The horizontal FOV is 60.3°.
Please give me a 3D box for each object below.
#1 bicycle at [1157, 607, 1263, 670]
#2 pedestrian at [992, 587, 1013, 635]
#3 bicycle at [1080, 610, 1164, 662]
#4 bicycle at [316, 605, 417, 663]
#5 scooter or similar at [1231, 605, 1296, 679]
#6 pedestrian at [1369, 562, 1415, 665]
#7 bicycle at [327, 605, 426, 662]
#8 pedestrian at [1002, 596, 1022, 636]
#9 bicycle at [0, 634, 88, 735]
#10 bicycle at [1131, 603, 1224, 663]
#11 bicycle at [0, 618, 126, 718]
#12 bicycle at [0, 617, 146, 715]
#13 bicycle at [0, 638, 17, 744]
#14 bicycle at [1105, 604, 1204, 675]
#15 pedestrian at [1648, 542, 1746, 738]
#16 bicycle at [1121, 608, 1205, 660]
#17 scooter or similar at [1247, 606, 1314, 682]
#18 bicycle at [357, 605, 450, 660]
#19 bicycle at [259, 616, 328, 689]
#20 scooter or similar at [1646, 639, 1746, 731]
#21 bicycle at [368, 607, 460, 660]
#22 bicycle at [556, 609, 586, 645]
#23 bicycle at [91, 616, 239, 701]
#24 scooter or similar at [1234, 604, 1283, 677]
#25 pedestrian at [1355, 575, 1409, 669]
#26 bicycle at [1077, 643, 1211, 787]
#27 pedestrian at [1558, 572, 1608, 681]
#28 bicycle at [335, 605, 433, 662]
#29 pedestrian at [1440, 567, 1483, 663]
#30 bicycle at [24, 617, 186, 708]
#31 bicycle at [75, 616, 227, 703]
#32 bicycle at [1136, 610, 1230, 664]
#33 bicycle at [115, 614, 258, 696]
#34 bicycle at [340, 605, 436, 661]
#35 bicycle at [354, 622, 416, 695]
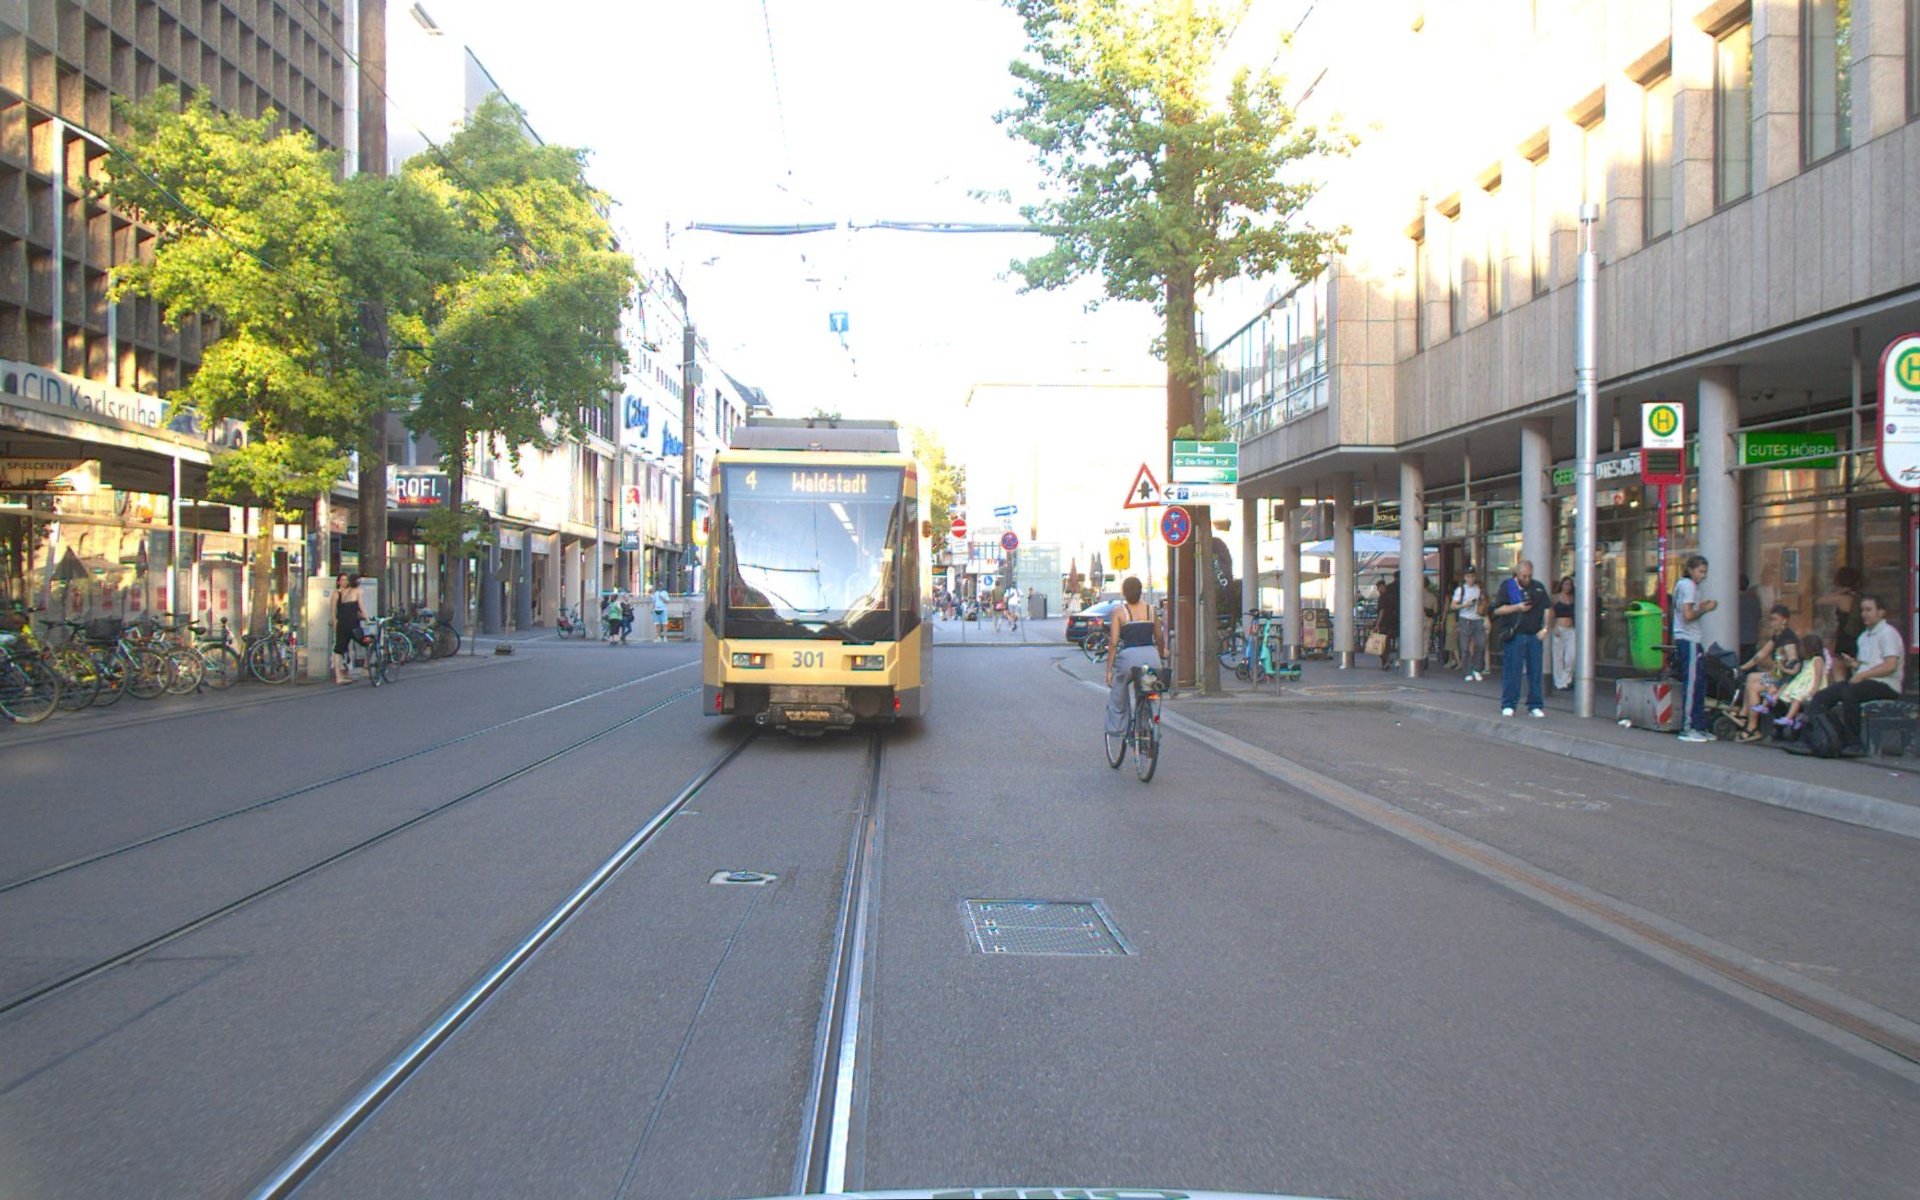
[{"bbox_3d":[5.000,0.767,33.154,1.958,1.175,0.724,-2,0,-7],"label":"bicycle"},{"bbox_3d":[1.571,0.402,61.399,0.703,1.756,0.709,0,-1,-3],"label":"pedestrian"},{"bbox_3d":[3.724,0.822,38.146,1.816,1.128,0.666,-1,0,-5],"label":"bicycle"},{"bbox_3d":[-11.450,0.656,31.931,1.736,1.063,0.489,2,0,-2],"label":"bicycle"},{"bbox_3d":[5.414,0.745,29.531,1.176,1.273,0.389,-1,1,-32],"label":"scooter or similar"},{"bbox_3d":[8.679,0.269,33.268,0.672,2.049,0.782,-1,0,-2],"label":"pedestrian"},{"bbox_3d":[-11.468,0.659,32.502,1.736,1.063,0.489,2,0,-2],"label":"bicycle"},{"bbox_3d":[2.415,0.744,76.622,0.722,1.855,0.816,0,0,-17],"label":"pedestrian"},{"bbox_3d":[-10.184,0.872,17.359,1.738,1.007,0.489,2,1,-8],"label":"bicycle"},{"bbox_3d":[4.835,0.721,36.832,1.878,1.244,0.762,-2,0,-7],"label":"bicycle"},{"bbox_3d":[-10.728,0.783,19.228,1.738,1.090,0.488,2,0,-8],"label":"bicycle"},{"bbox_3d":[-10.768,0.786,19.804,1.738,1.090,0.488,2,0,-8],"label":"bicycle"},{"bbox_3d":[-10.142,0.863,15.948,1.738,1.007,0.489,2,1,-8],"label":"bicycle"},{"bbox_3d":[4.002,0.806,34.044,1.878,1.356,0.724,-2,0,-7],"label":"bicycle"},{"bbox_3d":[7.231,0.383,16.254,0.626,1.872,0.667,-1,-1,-1],"label":"pedestrian"},{"bbox_3d":[4.704,0.786,38.405,1.816,1.128,0.666,-1,0,-5],"label":"bicycle"},{"bbox_3d":[5.552,0.754,28.669,1.102,1.273,0.491,-1,1,-33],"label":"scooter or similar"},{"bbox_3d":[-11.553,0.670,34.382,1.736,1.063,0.489,2,0,-2],"label":"bicycle"},{"bbox_3d":[-10.362,0.798,25.774,0.478,1.063,1.776,1,0,-5],"label":"bicycle"},{"bbox_3d":[7.672,0.878,17.274,0.815,0.899,0.687,1,-1,12],"label":"scooter or similar"},{"bbox_3d":[-11.538,0.711,34.963,1.736,1.063,0.489,2,0,-2],"label":"bicycle"},{"bbox_3d":[-13.188,0.911,56.141,0.488,1.127,1.801,0,1,3],"label":"bicycle"},{"bbox_3d":[-10.943,0.802,22.804,1.738,1.090,0.488,2,0,-8],"label":"bicycle"},{"bbox_3d":[5.445,0.733,30.141,0.385,1.273,1.187,-1,1,36],"label":"scooter or similar"},{"bbox_3d":[7.973,0.413,31.265,0.748,1.749,0.923,-1,-1,-1],"label":"pedestrian"},{"bbox_3d":[1.583,0.969,14.599,0.799,1.092,2.112,2,0,-3],"label":"bicycle"},{"bbox_3d":[10.268,0.435,27.268,0.559,1.762,0.617,-1,0,-3],"label":"pedestrian"},{"bbox_3d":[-11.511,0.662,33.079,1.736,1.063,0.489,2,0,-2],"label":"bicycle"},{"bbox_3d":[10.041,0.299,33.111,0.649,1.881,0.719,-1,-1,4],"label":"pedestrian"},{"bbox_3d":[-10.860,0.792,21.042,1.738,1.090,0.488,2,0,-8],"label":"bicycle"},{"bbox_3d":[-10.871,0.799,22.262,1.738,1.090,0.488,2,0,-8],"label":"bicycle"},{"bbox_3d":[4.858,0.802,36.086,1.878,1.096,0.762,-2,0,-7],"label":"bicycle"},{"bbox_3d":[-10.956,0.779,23.457,1.738,1.090,0.488,2,0,-8],"label":"bicycle"},{"bbox_3d":[-11.516,0.664,33.322,1.736,1.063,0.489,2,0,-2],"label":"bicycle"},{"bbox_3d":[-9.028,0.901,26.016,0.478,1.063,1.776,1,0,-5],"label":"bicycle"}]
